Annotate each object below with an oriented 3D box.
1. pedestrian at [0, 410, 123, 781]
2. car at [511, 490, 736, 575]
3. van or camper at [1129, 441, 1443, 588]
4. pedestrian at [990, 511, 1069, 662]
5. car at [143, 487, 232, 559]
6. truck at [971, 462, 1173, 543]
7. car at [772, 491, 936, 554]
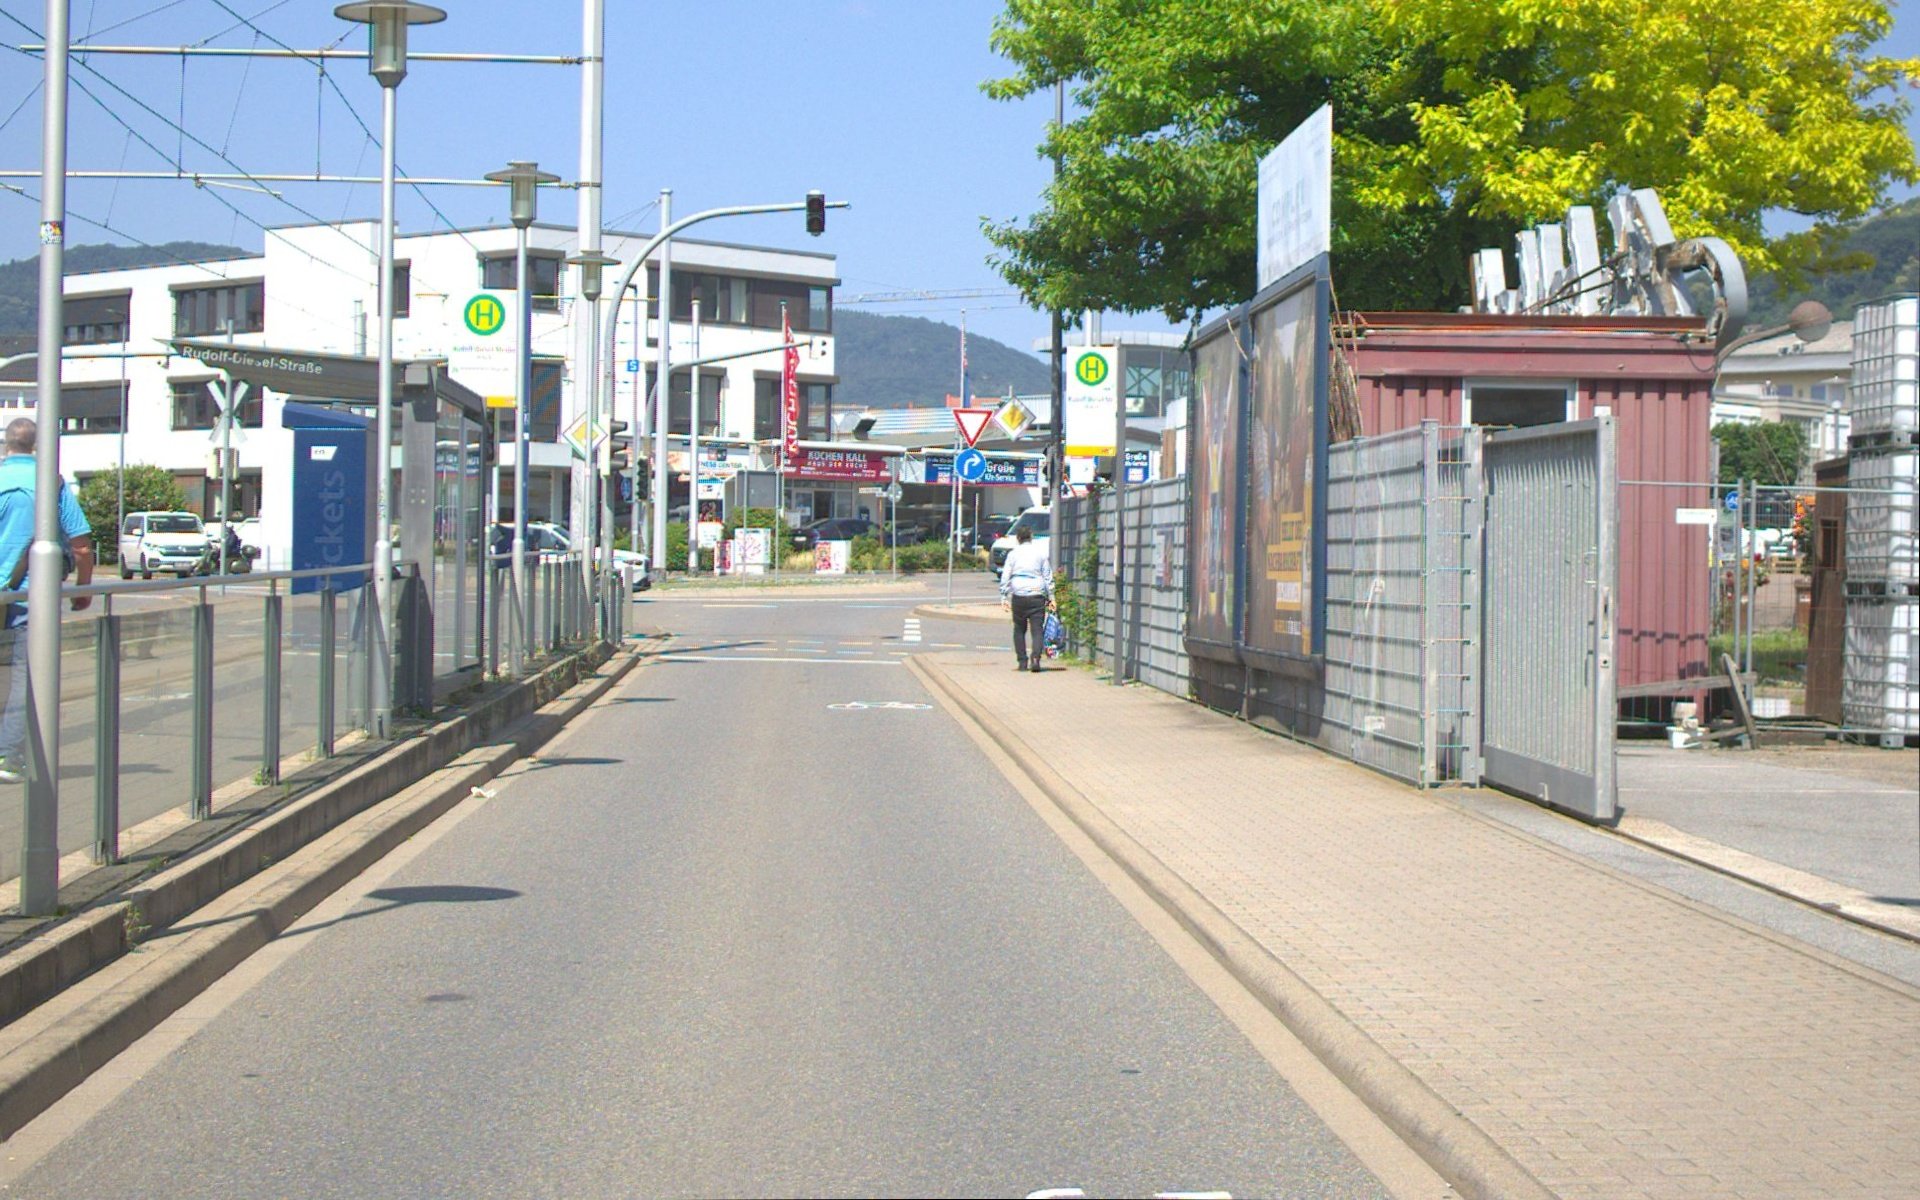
[{"bbox_3d":[-4.484,-0.040,16.463,0.724,1.718,0.945,1,2,-2],"label":"pedestrian"},{"bbox_3d":[-6.989,-1.405,71.249,4.548,1.727,2.001,0,2,-8],"label":"car"},{"bbox_3d":[6.184,-1.648,65.717,5.811,2.764,2.091,0,2,1],"label":"van or camper"},{"bbox_3d":[0.786,-0.160,39.067,0.812,1.693,0.887,0,1,-4],"label":"pedestrian"},{"bbox_3d":[-22.193,-2.198,98.914,2.161,2.007,5.019,0,1,-9],"label":"car"},{"bbox_3d":[3.388,-2.910,103.115,6.372,2.329,2.208,-1,2,-44],"label":"truck"},{"bbox_3d":[-3.325,-2.455,109.048,5.267,1.959,1.965,-1,2,-45],"label":"car"}]
